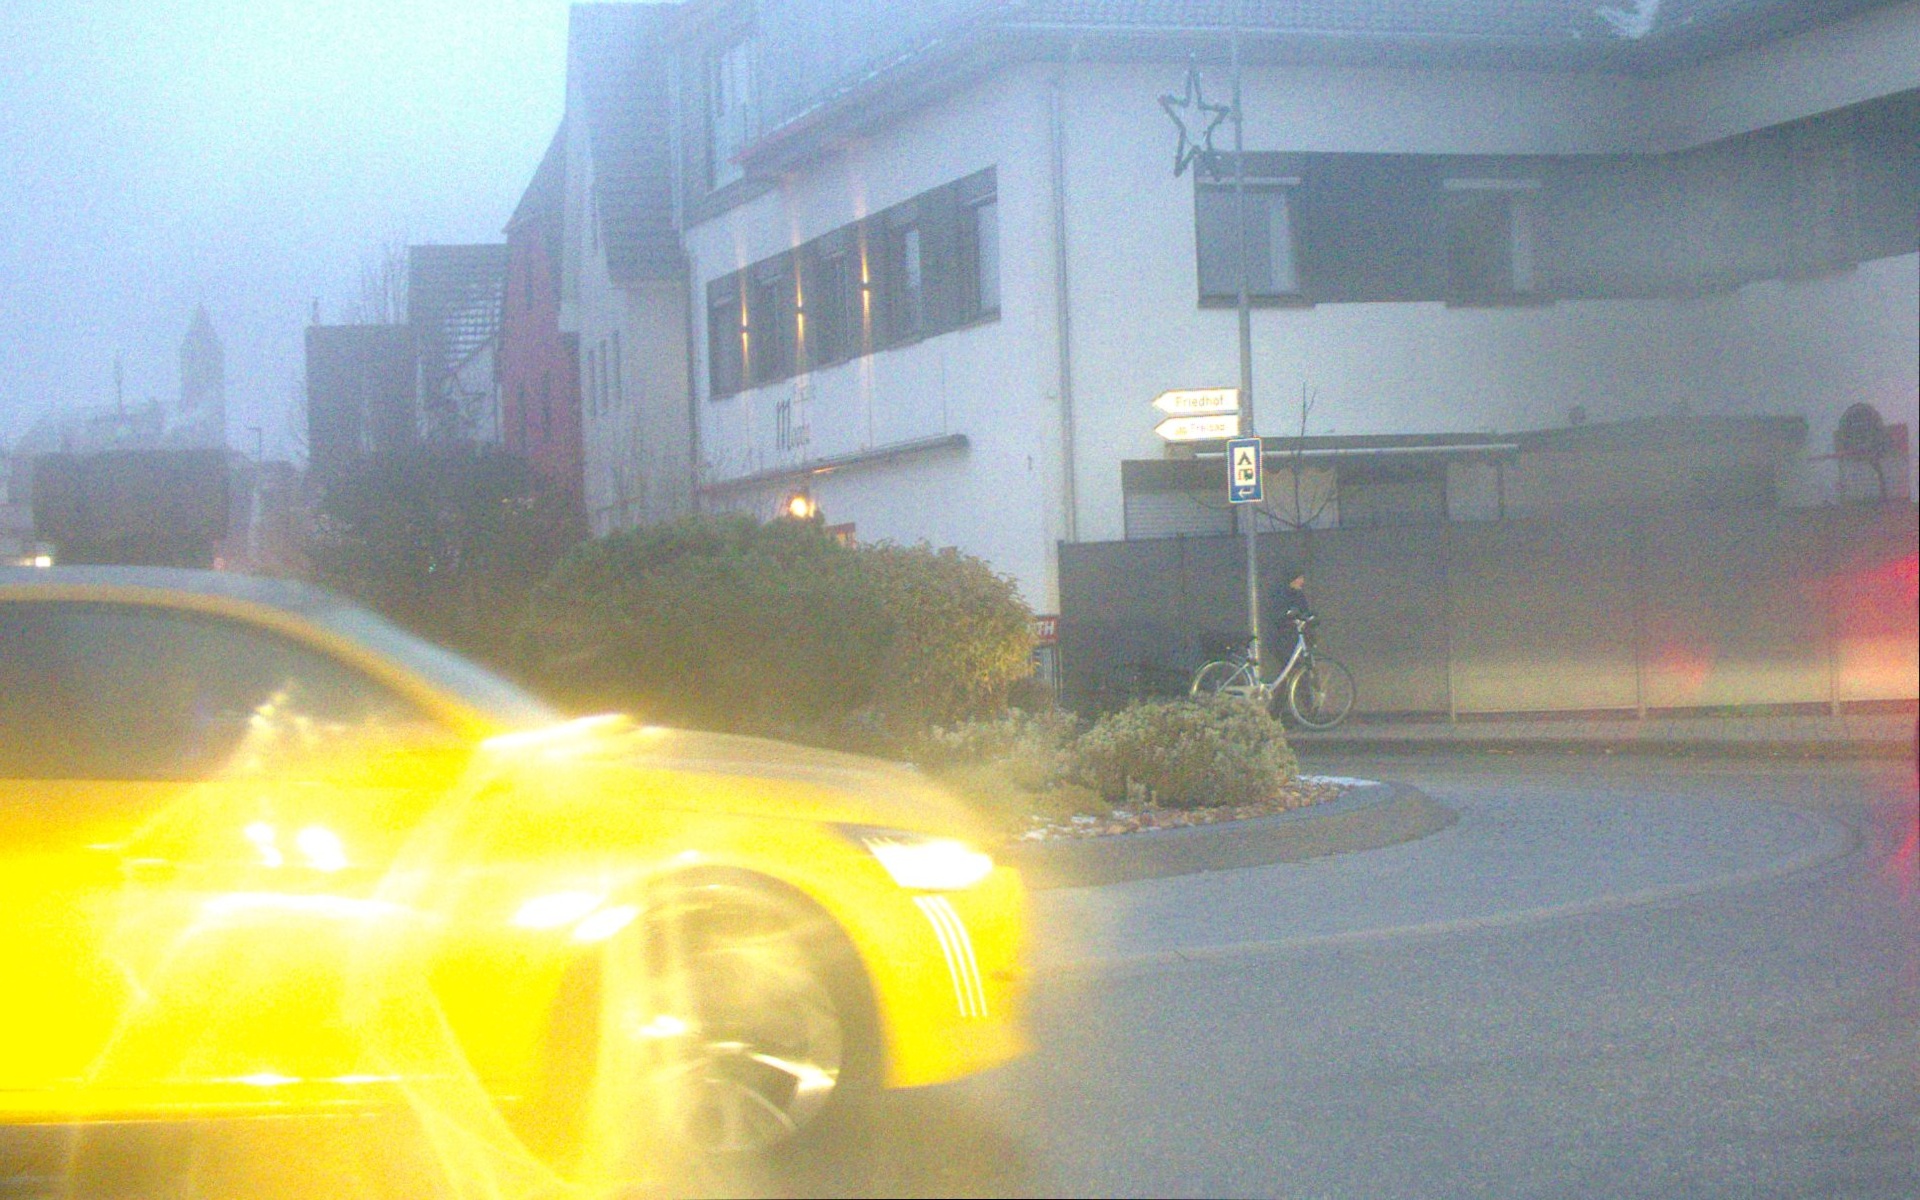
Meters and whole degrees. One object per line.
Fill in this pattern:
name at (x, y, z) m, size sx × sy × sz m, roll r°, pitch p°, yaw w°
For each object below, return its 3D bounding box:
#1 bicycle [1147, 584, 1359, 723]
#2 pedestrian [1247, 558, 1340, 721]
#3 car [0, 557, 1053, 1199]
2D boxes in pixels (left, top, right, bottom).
bicycle at (2.825, 0.518, 33.180) m, size 1.939 × 1.291 × 0.551 m, roll -1°, pitch 2°, yaw 25°
pedestrian at (3.241, 0.382, 33.404) m, size 0.690 × 1.559 × 0.609 m, roll -1°, pitch 1°, yaw 26°
car at (-1.859, 0.647, 8.484) m, size 3.999 × 1.417 × 1.716 m, roll -1°, pitch 1°, yaw -4°
